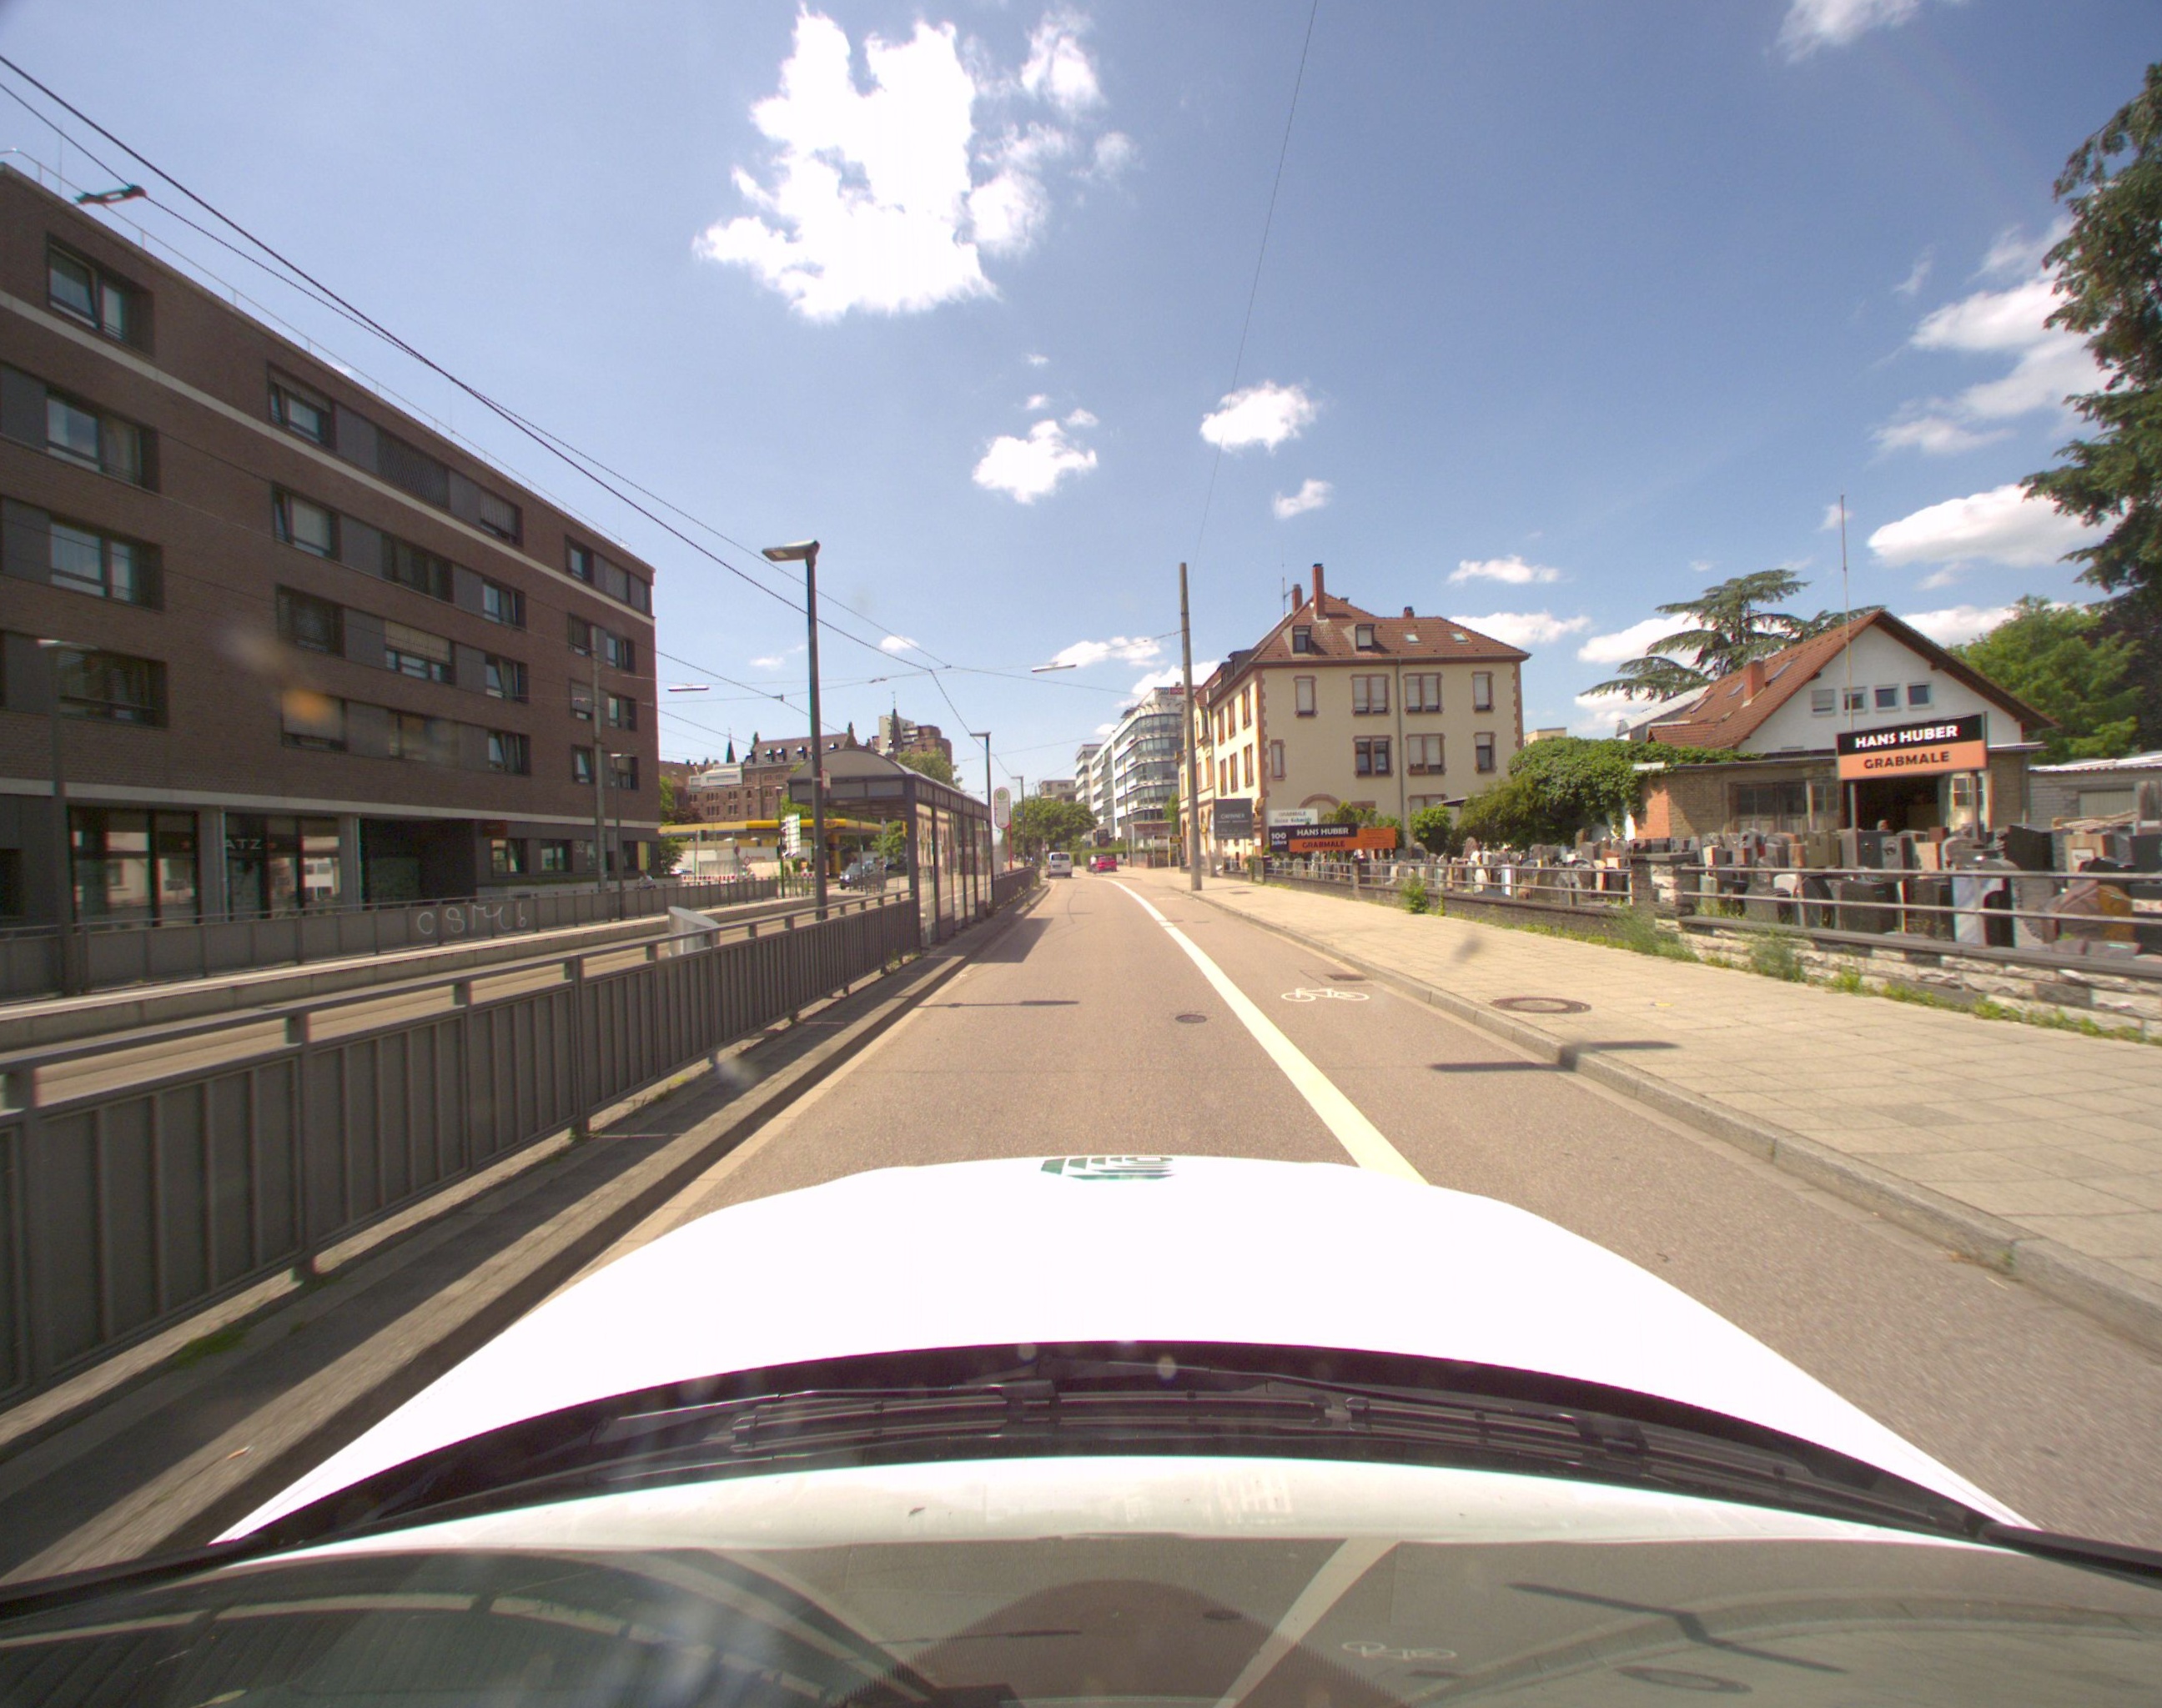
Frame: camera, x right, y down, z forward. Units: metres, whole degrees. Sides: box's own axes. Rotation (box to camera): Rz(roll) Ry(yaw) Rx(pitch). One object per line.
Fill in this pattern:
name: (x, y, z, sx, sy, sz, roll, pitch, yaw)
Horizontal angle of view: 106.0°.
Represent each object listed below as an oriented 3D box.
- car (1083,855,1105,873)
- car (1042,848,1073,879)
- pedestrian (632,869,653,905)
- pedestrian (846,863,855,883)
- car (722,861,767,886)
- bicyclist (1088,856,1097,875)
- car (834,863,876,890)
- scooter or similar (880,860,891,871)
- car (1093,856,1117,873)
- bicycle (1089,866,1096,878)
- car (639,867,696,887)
car: (1.269, 0.962, 81.321, 1.859, 1.687, 4.994, -3, 0, -3)
car: (-1.705, 0.658, 58.856, 1.751, 2.013, 3.990, -3, 1, -7)
pedestrian: (-17.399, 1.317, 32.320, 0.434, 1.384, 0.536, -4, -1, 2)
pedestrian: (-19.997, 1.660, 70.662, 0.551, 1.658, 0.673, -2, -1, 1)
car: (-26.195, 1.545, 63.322, 2.069, 1.567, 3.952, -4, -2, -41)
bicyclist: (0.860, 0.852, 62.242, 0.590, 1.397, 0.840, -2, 0, -5)
car: (-14.560, 1.431, 52.709, 1.694, 1.616, 3.755, -3, 0, -2)
scooter or similar: (-27.459, 1.593, 114.472, 1.169, 1.466, 1.059, -3, -1, -1)
car: (2.173, 0.958, 74.991, 1.710, 1.452, 4.064, -4, 0, -6)
bicycle: (0.908, 1.351, 62.398, 0.464, 0.887, 2.047, -2, 0, 0)
car: (-33.434, 1.868, 65.859, 3.973, 1.463, 1.767, -2, 0, 16)
